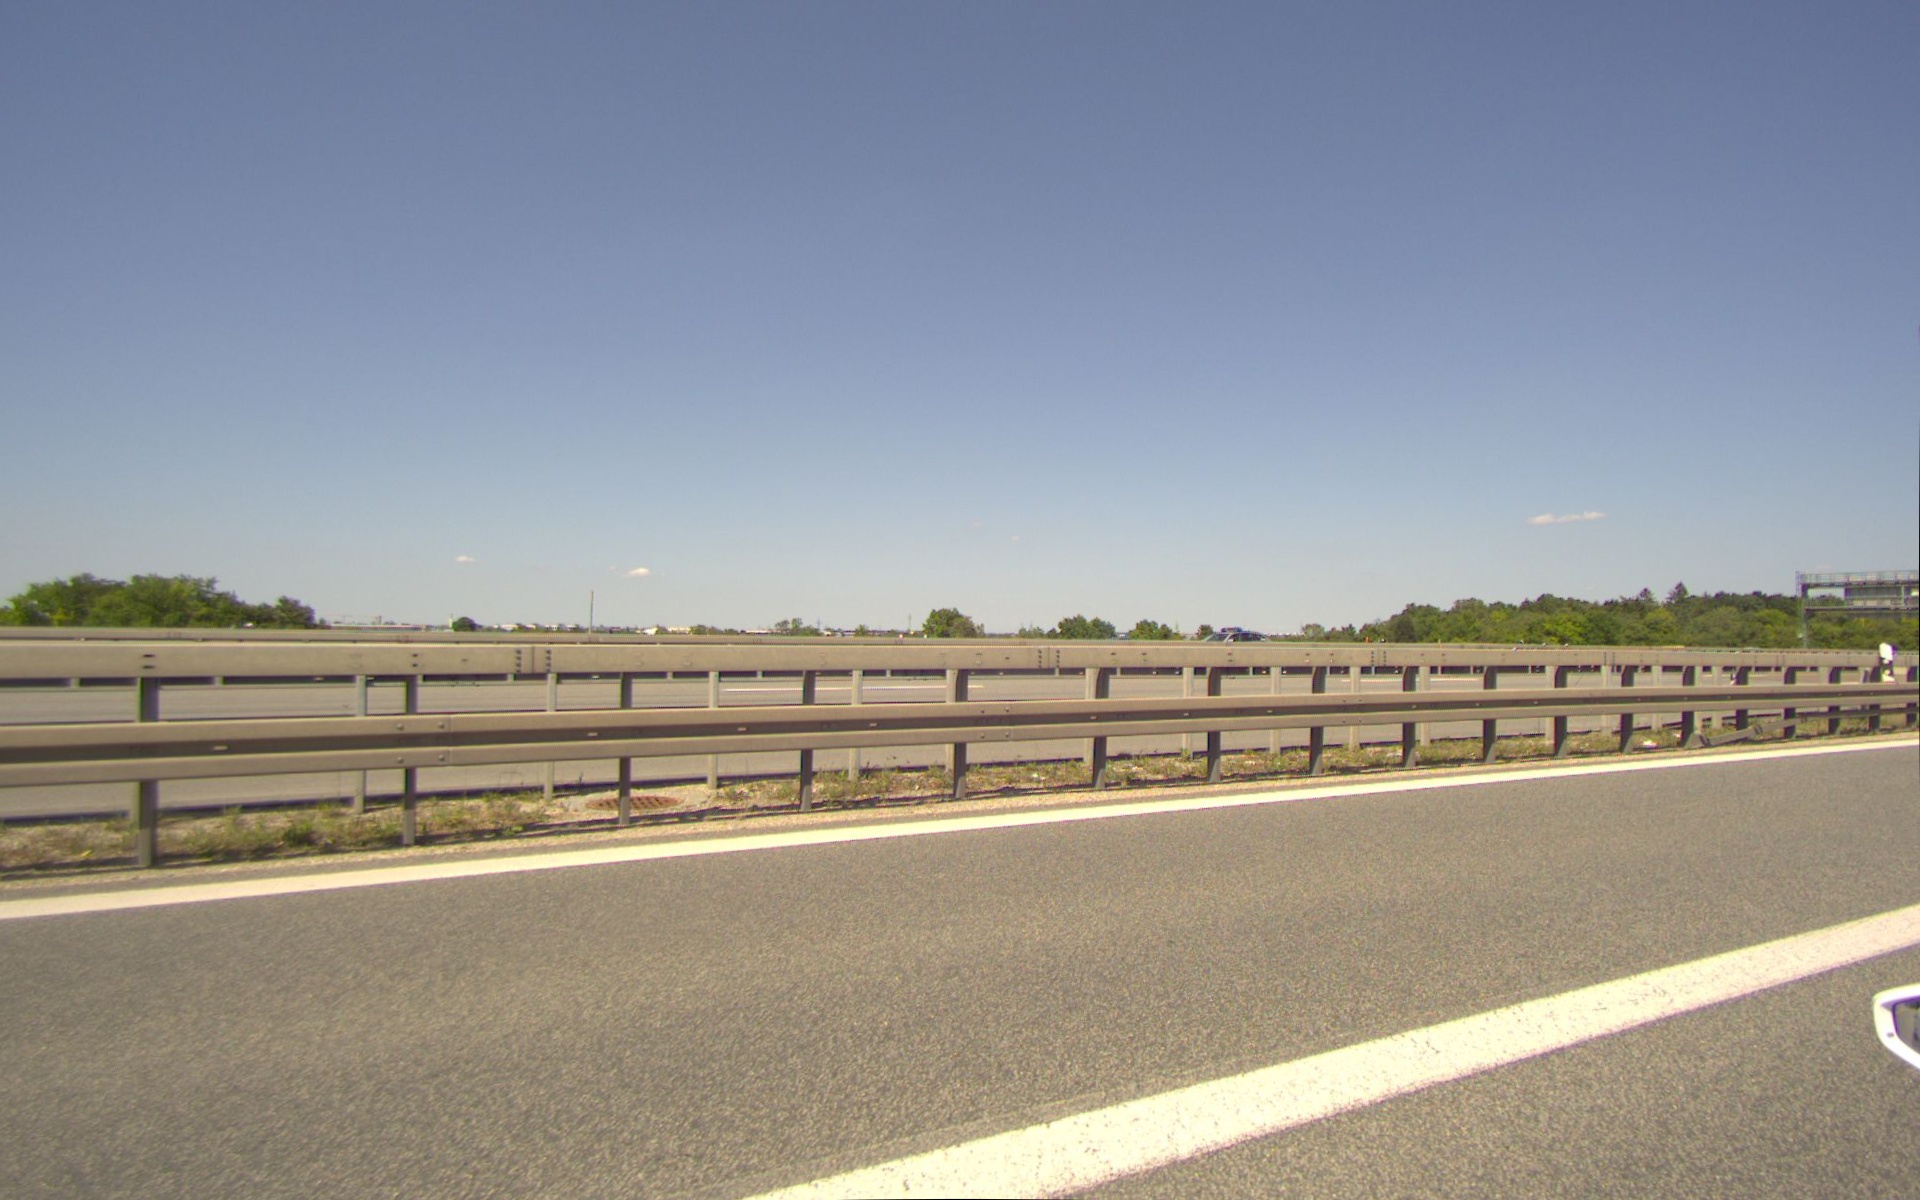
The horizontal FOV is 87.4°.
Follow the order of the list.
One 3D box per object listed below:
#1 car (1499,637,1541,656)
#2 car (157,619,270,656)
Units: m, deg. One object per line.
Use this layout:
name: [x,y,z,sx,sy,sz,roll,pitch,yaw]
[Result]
car: [46.709,3.872,83.763,3.304,1.371,1.571,4,-3,-29]
car: [-31.815,1.624,42.940,3.571,1.374,1.618,4,-3,-27]
